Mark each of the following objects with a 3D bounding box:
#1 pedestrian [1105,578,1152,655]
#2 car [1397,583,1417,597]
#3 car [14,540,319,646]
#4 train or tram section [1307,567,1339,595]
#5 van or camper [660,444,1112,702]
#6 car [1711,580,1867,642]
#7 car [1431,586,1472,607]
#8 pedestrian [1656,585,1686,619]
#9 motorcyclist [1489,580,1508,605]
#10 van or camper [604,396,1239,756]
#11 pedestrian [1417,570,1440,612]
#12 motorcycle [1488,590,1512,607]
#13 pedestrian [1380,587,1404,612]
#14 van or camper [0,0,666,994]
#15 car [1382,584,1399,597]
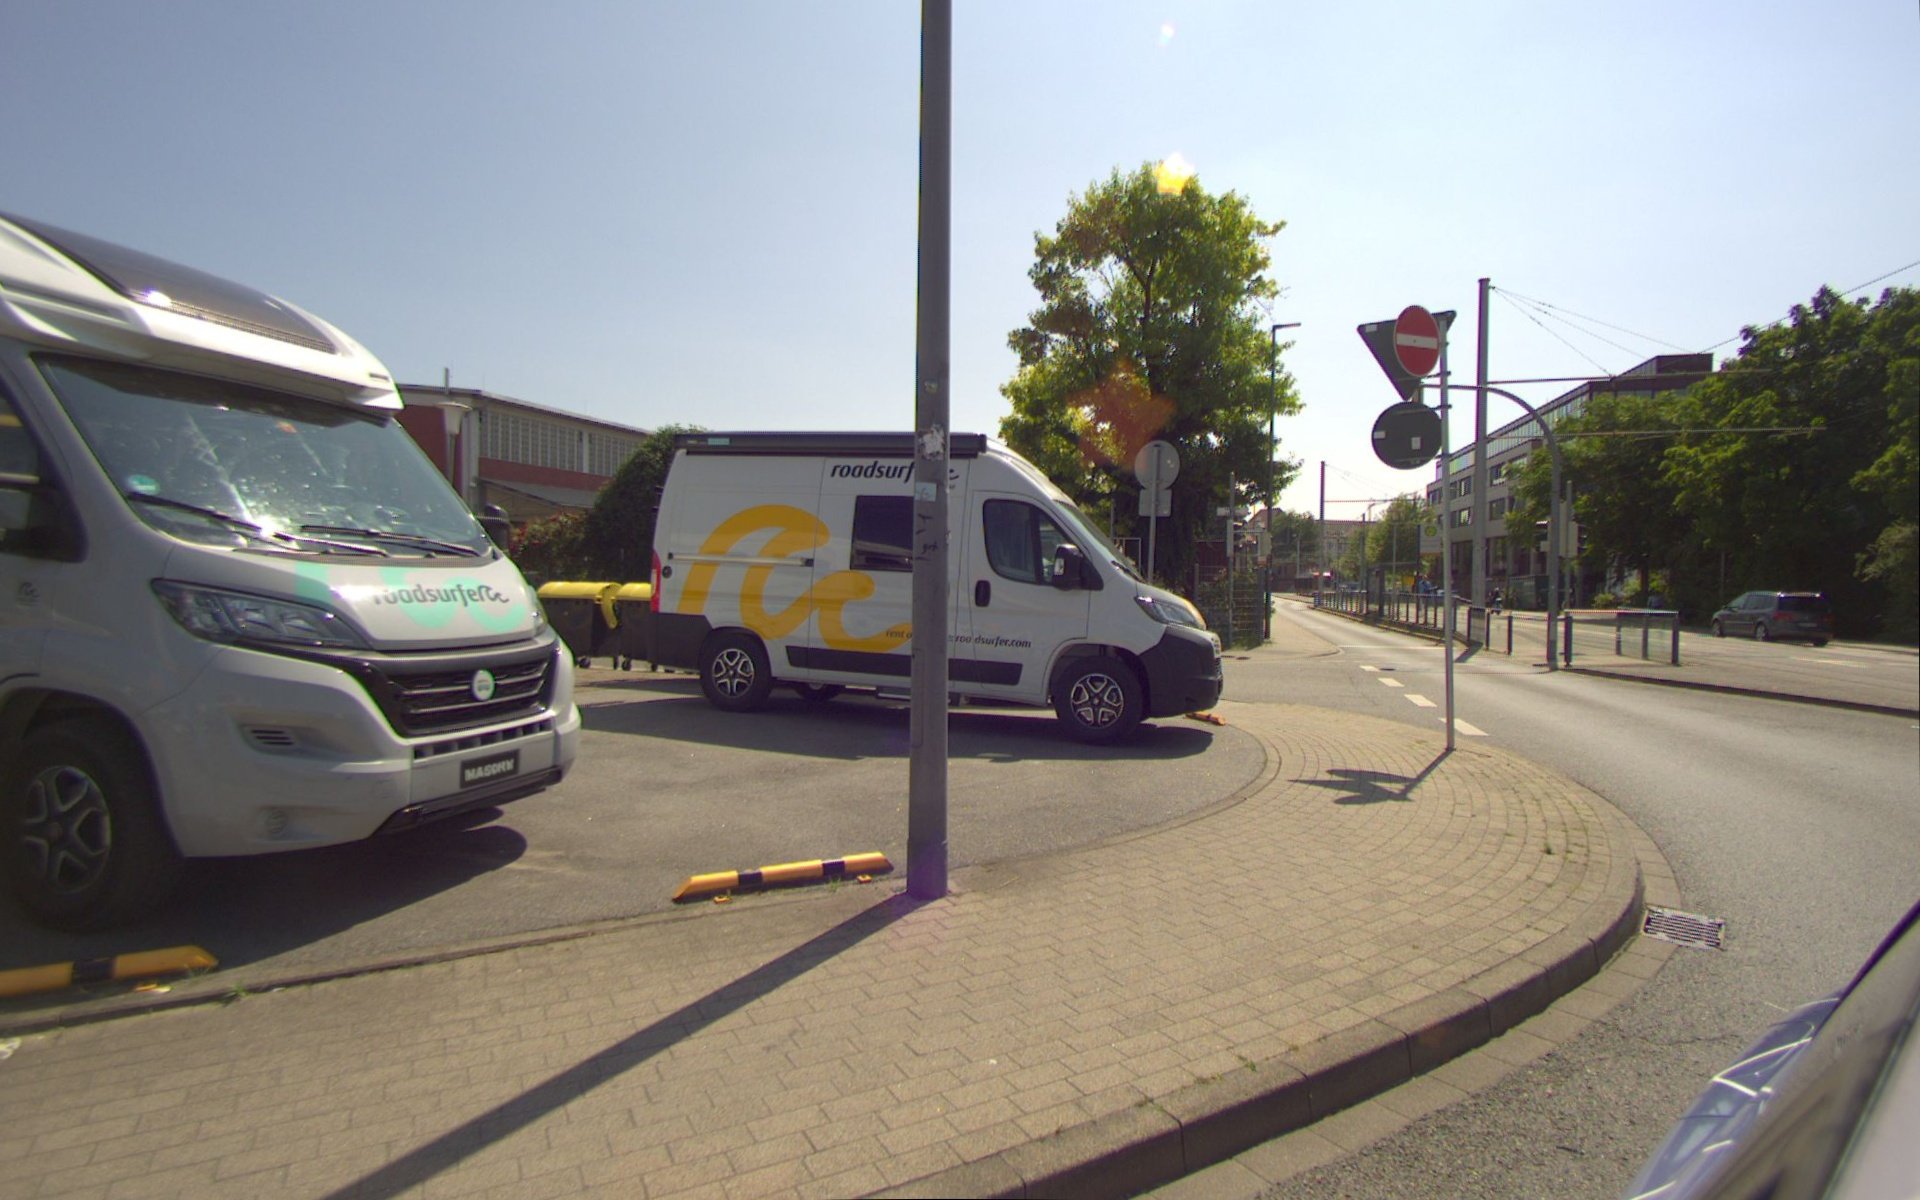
[{"bbox_3d":[3.880,0.368,23.370,0.870,1.720,0.816,2,1,-3],"label":"pedestrian"},{"bbox_3d":[55.687,-1.223,126.144,1.977,1.643,3.972,2,1,21],"label":"car"},{"bbox_3d":[-12.758,-0.105,16.362,3.836,1.535,1.809,1,-2,12],"label":"car"},{"bbox_3d":[48.086,-2.539,134.477,2.643,3.528,12.277,1,1,14],"label":"train or tram section"},{"bbox_3d":[-0.938,-0.314,13.083,5.454,2.850,2.034,1,-1,20],"label":"van or camper"},{"bbox_3d":[26.191,0.297,32.193,1.902,1.602,4.181,4,3,10],"label":"car"},{"bbox_3d":[37.930,-0.290,78.179,1.885,1.460,4.576,3,2,14],"label":"car"},{"bbox_3d":[33.412,0.097,47.587,0.861,1.546,0.842,2,1,14],"label":"pedestrian"},{"bbox_3d":[33.599,-0.465,63.137,0.826,1.493,0.958,1,1,15],"label":"motorcyclist"},{"bbox_3d":[-0.348,-0.278,9.804,5.753,2.809,2.079,2,0,18],"label":"van or camper"},{"bbox_3d":[19.742,-0.380,42.696,0.716,1.746,0.940,0,0,15],"label":"pedestrian"},{"bbox_3d":[33.552,-0.101,62.894,0.813,1.024,1.956,1,1,13],"label":"motorcycle"},{"bbox_3d":[20.017,-0.020,46.904,0.932,1.113,0.723,1,1,15],"label":"pedestrian"},{"bbox_3d":[-5.213,-0.518,5.055,6.985,2.982,2.324,3,2,16],"label":"van or camper"},{"bbox_3d":[56.807,-1.307,133.596,1.851,1.638,3.972,2,1,21],"label":"car"}]
